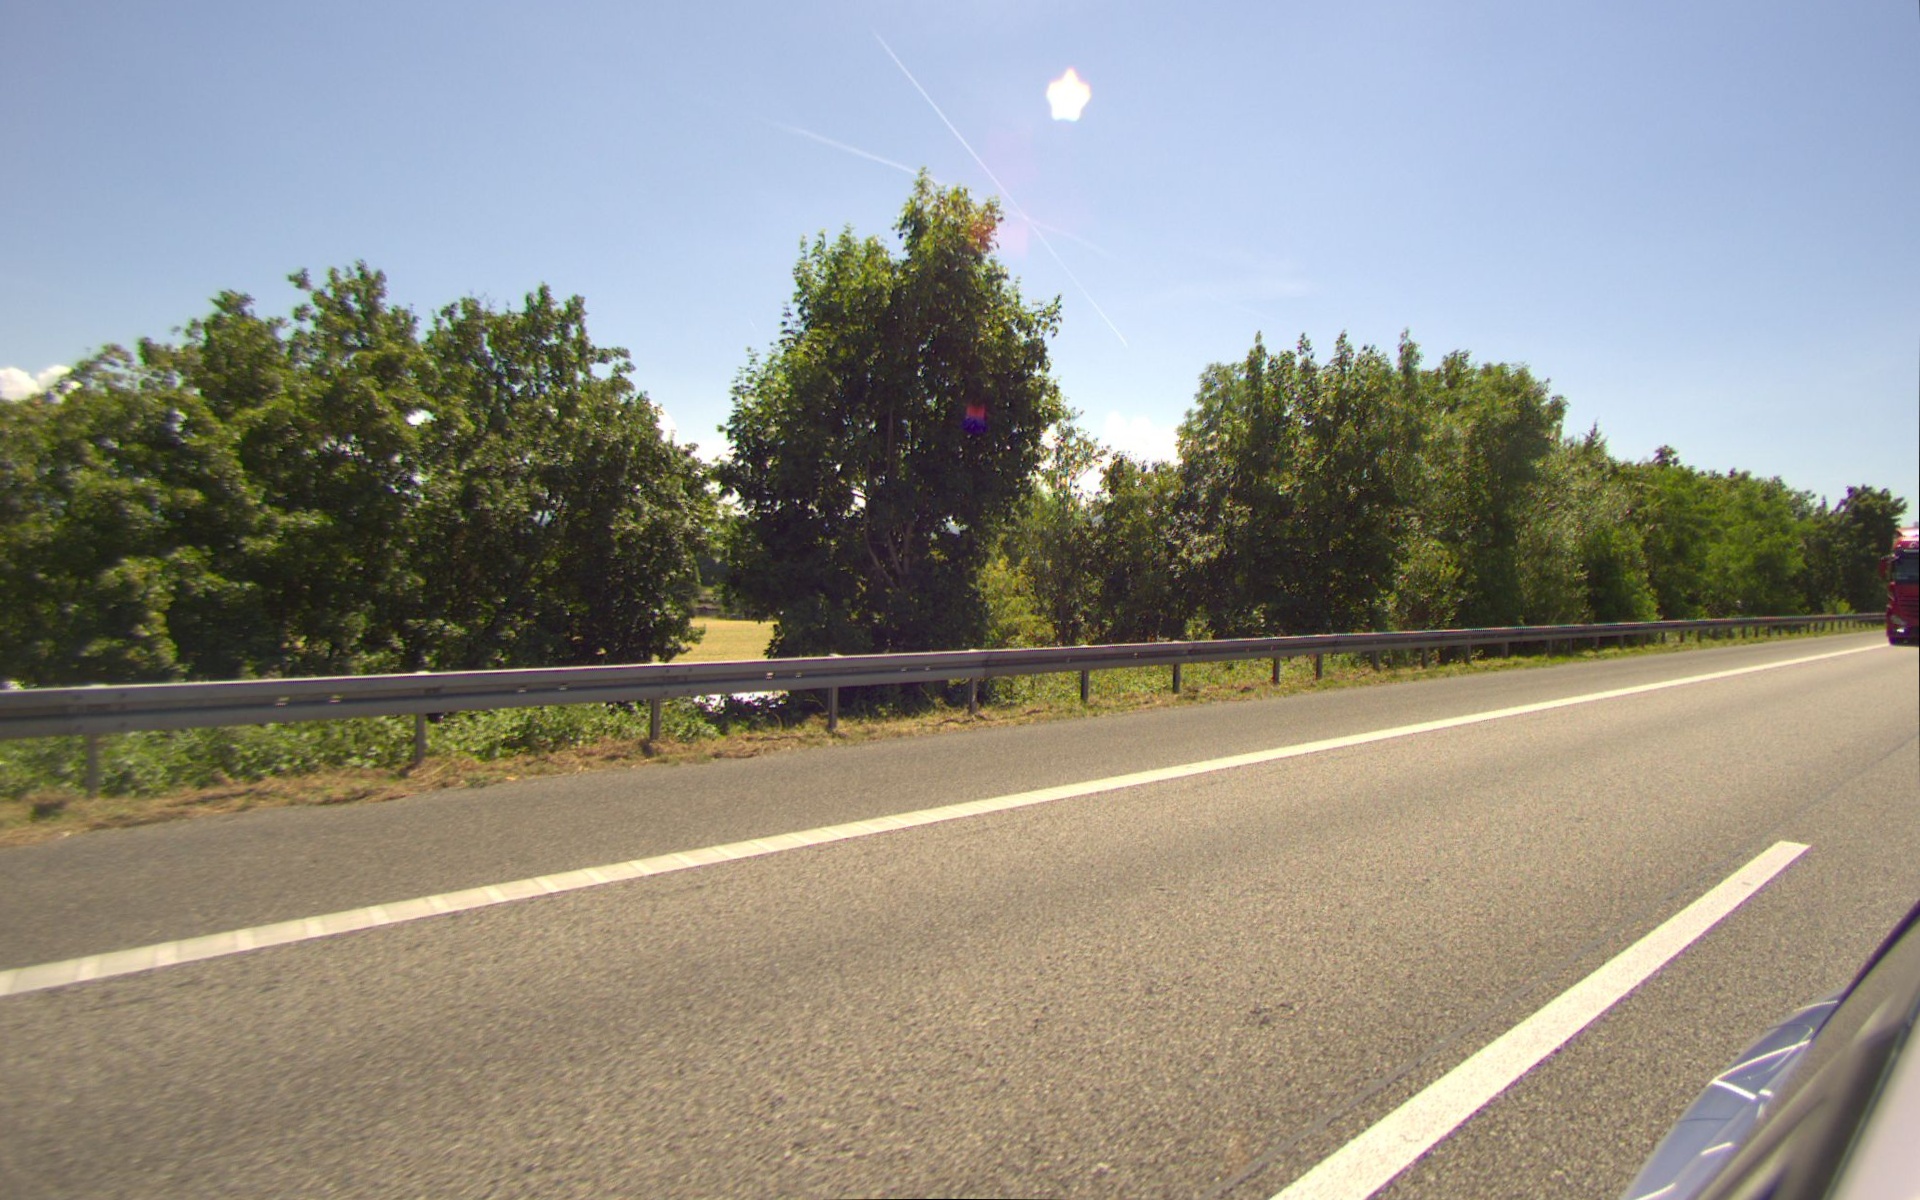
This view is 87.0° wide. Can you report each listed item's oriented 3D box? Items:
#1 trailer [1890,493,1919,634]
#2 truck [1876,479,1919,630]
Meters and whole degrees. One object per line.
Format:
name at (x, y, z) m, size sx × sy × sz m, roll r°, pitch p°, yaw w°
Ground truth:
trailer at (39.125, -1.159, 38.860) m, size 13.778 × 4.899 × 3.276 m, roll 1°, pitch 0°, yaw -40°
truck at (34.424, -1.429, 34.940) m, size 6.847 × 4.951 × 3.241 m, roll 1°, pitch 0°, yaw -40°
